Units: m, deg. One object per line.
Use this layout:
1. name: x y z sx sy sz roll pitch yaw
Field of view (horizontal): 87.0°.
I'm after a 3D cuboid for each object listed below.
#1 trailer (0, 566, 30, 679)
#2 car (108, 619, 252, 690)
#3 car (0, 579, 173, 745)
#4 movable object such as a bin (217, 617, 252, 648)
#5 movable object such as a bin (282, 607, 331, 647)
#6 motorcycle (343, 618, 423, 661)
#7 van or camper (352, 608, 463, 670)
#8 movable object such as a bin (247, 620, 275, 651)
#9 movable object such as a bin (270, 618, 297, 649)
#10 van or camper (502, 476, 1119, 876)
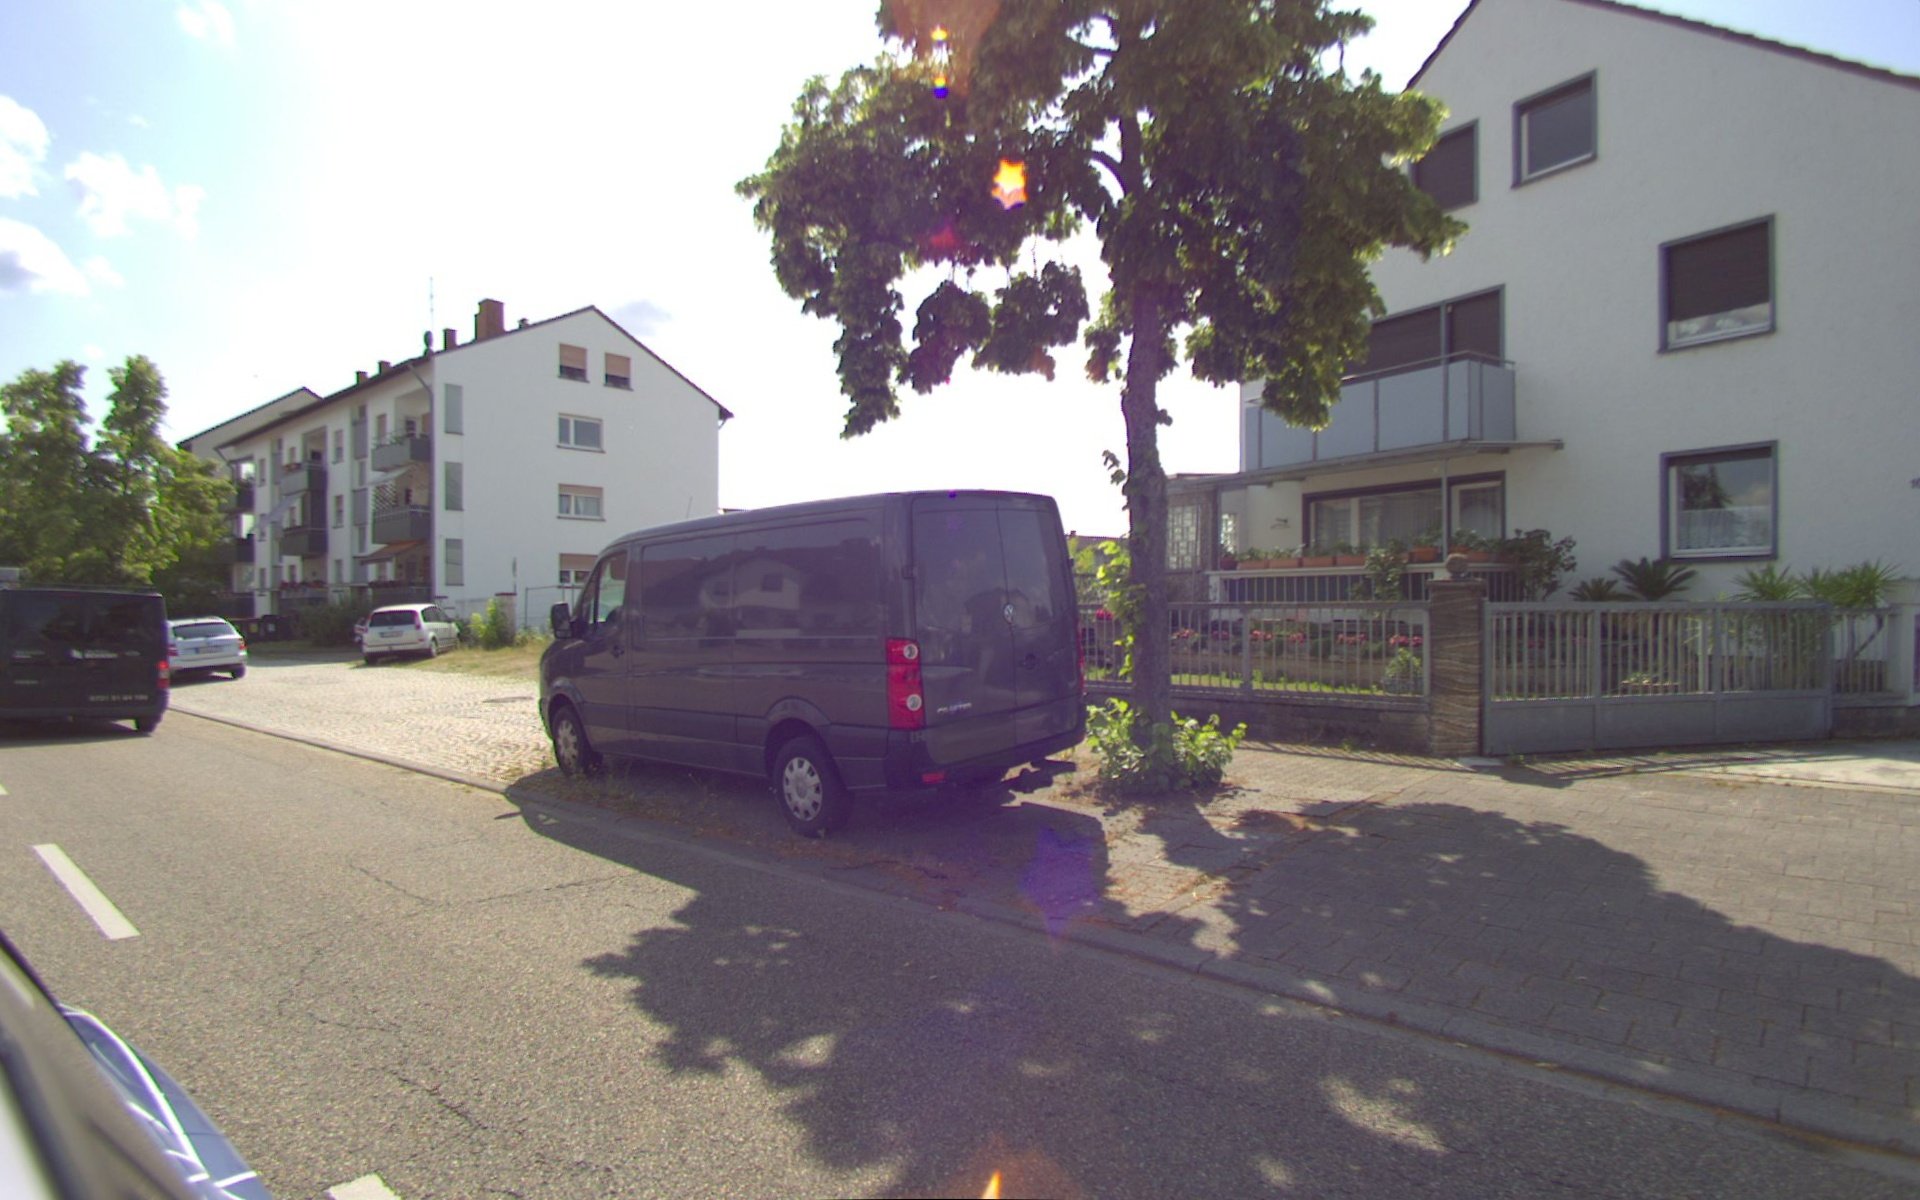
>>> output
1. trailer: -30.332 0.675 30.083 8.881 3.092 2.806 -1 -1 40
2. car: -19.120 1.317 24.721 4.704 1.472 1.731 -3 1 40
3. car: -13.334 0.819 14.732 5.140 2.050 2.029 -1 -3 42
4. movable object such as a bin: -28.691 1.278 40.037 0.824 1.158 0.943 -4 -2 42
5. movable object such as a bin: -25.406 1.044 39.339 1.265 1.394 1.257 -8 -3 41
6. motorcycle: -18.365 1.238 32.238 0.677 1.258 2.071 -1 1 42
7. van or camper: -15.827 1.053 29.191 1.752 1.554 4.010 -2 0 -13
8. movable object such as a bin: -28.154 1.420 40.775 0.806 1.223 0.742 -4 -2 42
9. movable object such as a bin: -27.628 1.385 41.337 0.806 1.223 0.742 -4 -2 42
10. van or camper: -1.694 0.431 8.686 5.936 2.334 1.971 -1 2 44
